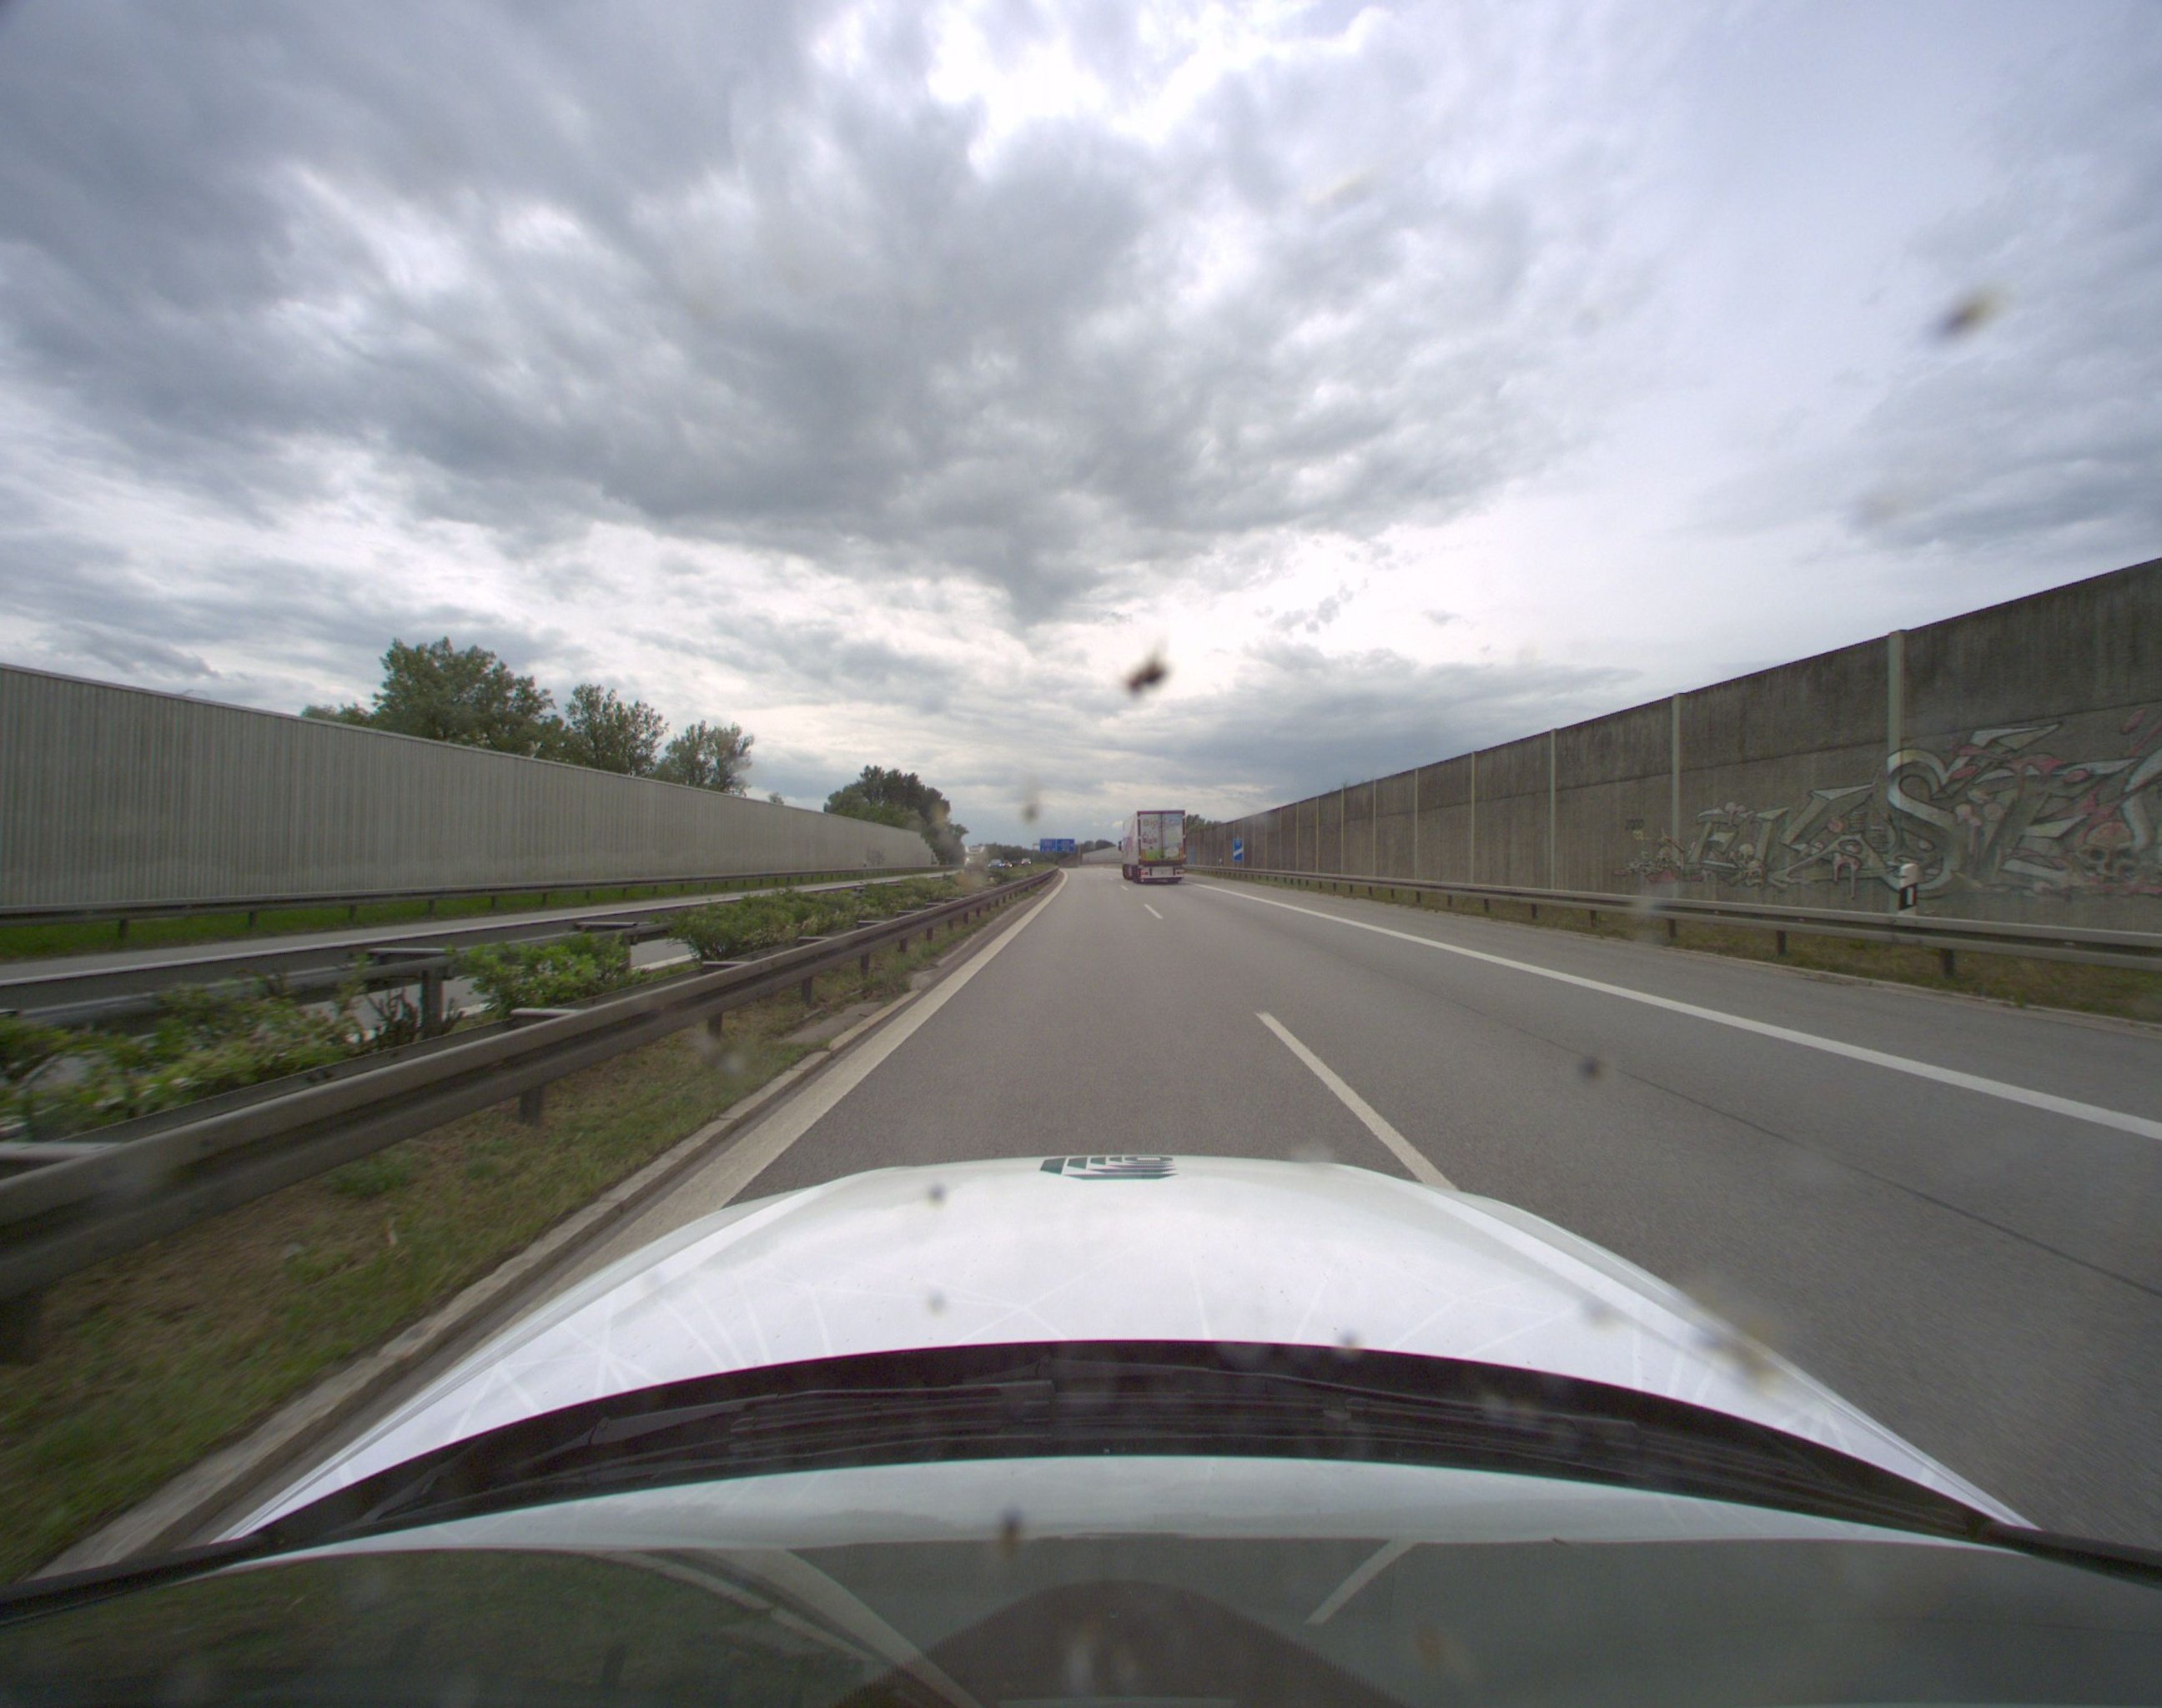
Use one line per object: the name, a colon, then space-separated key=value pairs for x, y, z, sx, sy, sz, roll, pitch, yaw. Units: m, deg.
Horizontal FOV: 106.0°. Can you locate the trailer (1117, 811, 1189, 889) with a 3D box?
trailer: x=4.152 y=-0.141 z=50.581 sx=2.785 sy=4.175 sz=14.093 roll=-1 pitch=-1 yaw=-2

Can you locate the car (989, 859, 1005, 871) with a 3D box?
car: x=-11.470 y=1.484 z=111.865 sx=1.806 sy=1.547 sz=4.513 roll=-1 pitch=0 yaw=-1

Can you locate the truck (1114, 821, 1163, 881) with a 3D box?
truck: x=3.903 y=-0.188 z=56.770 sx=2.749 sy=3.960 sz=5.672 roll=-1 pitch=-1 yaw=-2

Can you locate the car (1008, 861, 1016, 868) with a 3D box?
car: x=-17.392 y=2.586 z=205.282 sx=1.966 sy=1.761 sz=4.938 roll=-1 pitch=-1 yaw=-3

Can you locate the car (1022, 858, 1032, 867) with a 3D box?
car: x=-11.287 y=1.826 z=170.816 sx=1.988 sy=1.886 sz=4.552 roll=-1 pitch=0 yaw=-2

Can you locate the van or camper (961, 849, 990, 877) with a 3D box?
van or camper: x=-10.742 y=0.928 z=83.318 sx=2.247 sy=2.779 sz=5.753 roll=-1 pitch=0 yaw=0
